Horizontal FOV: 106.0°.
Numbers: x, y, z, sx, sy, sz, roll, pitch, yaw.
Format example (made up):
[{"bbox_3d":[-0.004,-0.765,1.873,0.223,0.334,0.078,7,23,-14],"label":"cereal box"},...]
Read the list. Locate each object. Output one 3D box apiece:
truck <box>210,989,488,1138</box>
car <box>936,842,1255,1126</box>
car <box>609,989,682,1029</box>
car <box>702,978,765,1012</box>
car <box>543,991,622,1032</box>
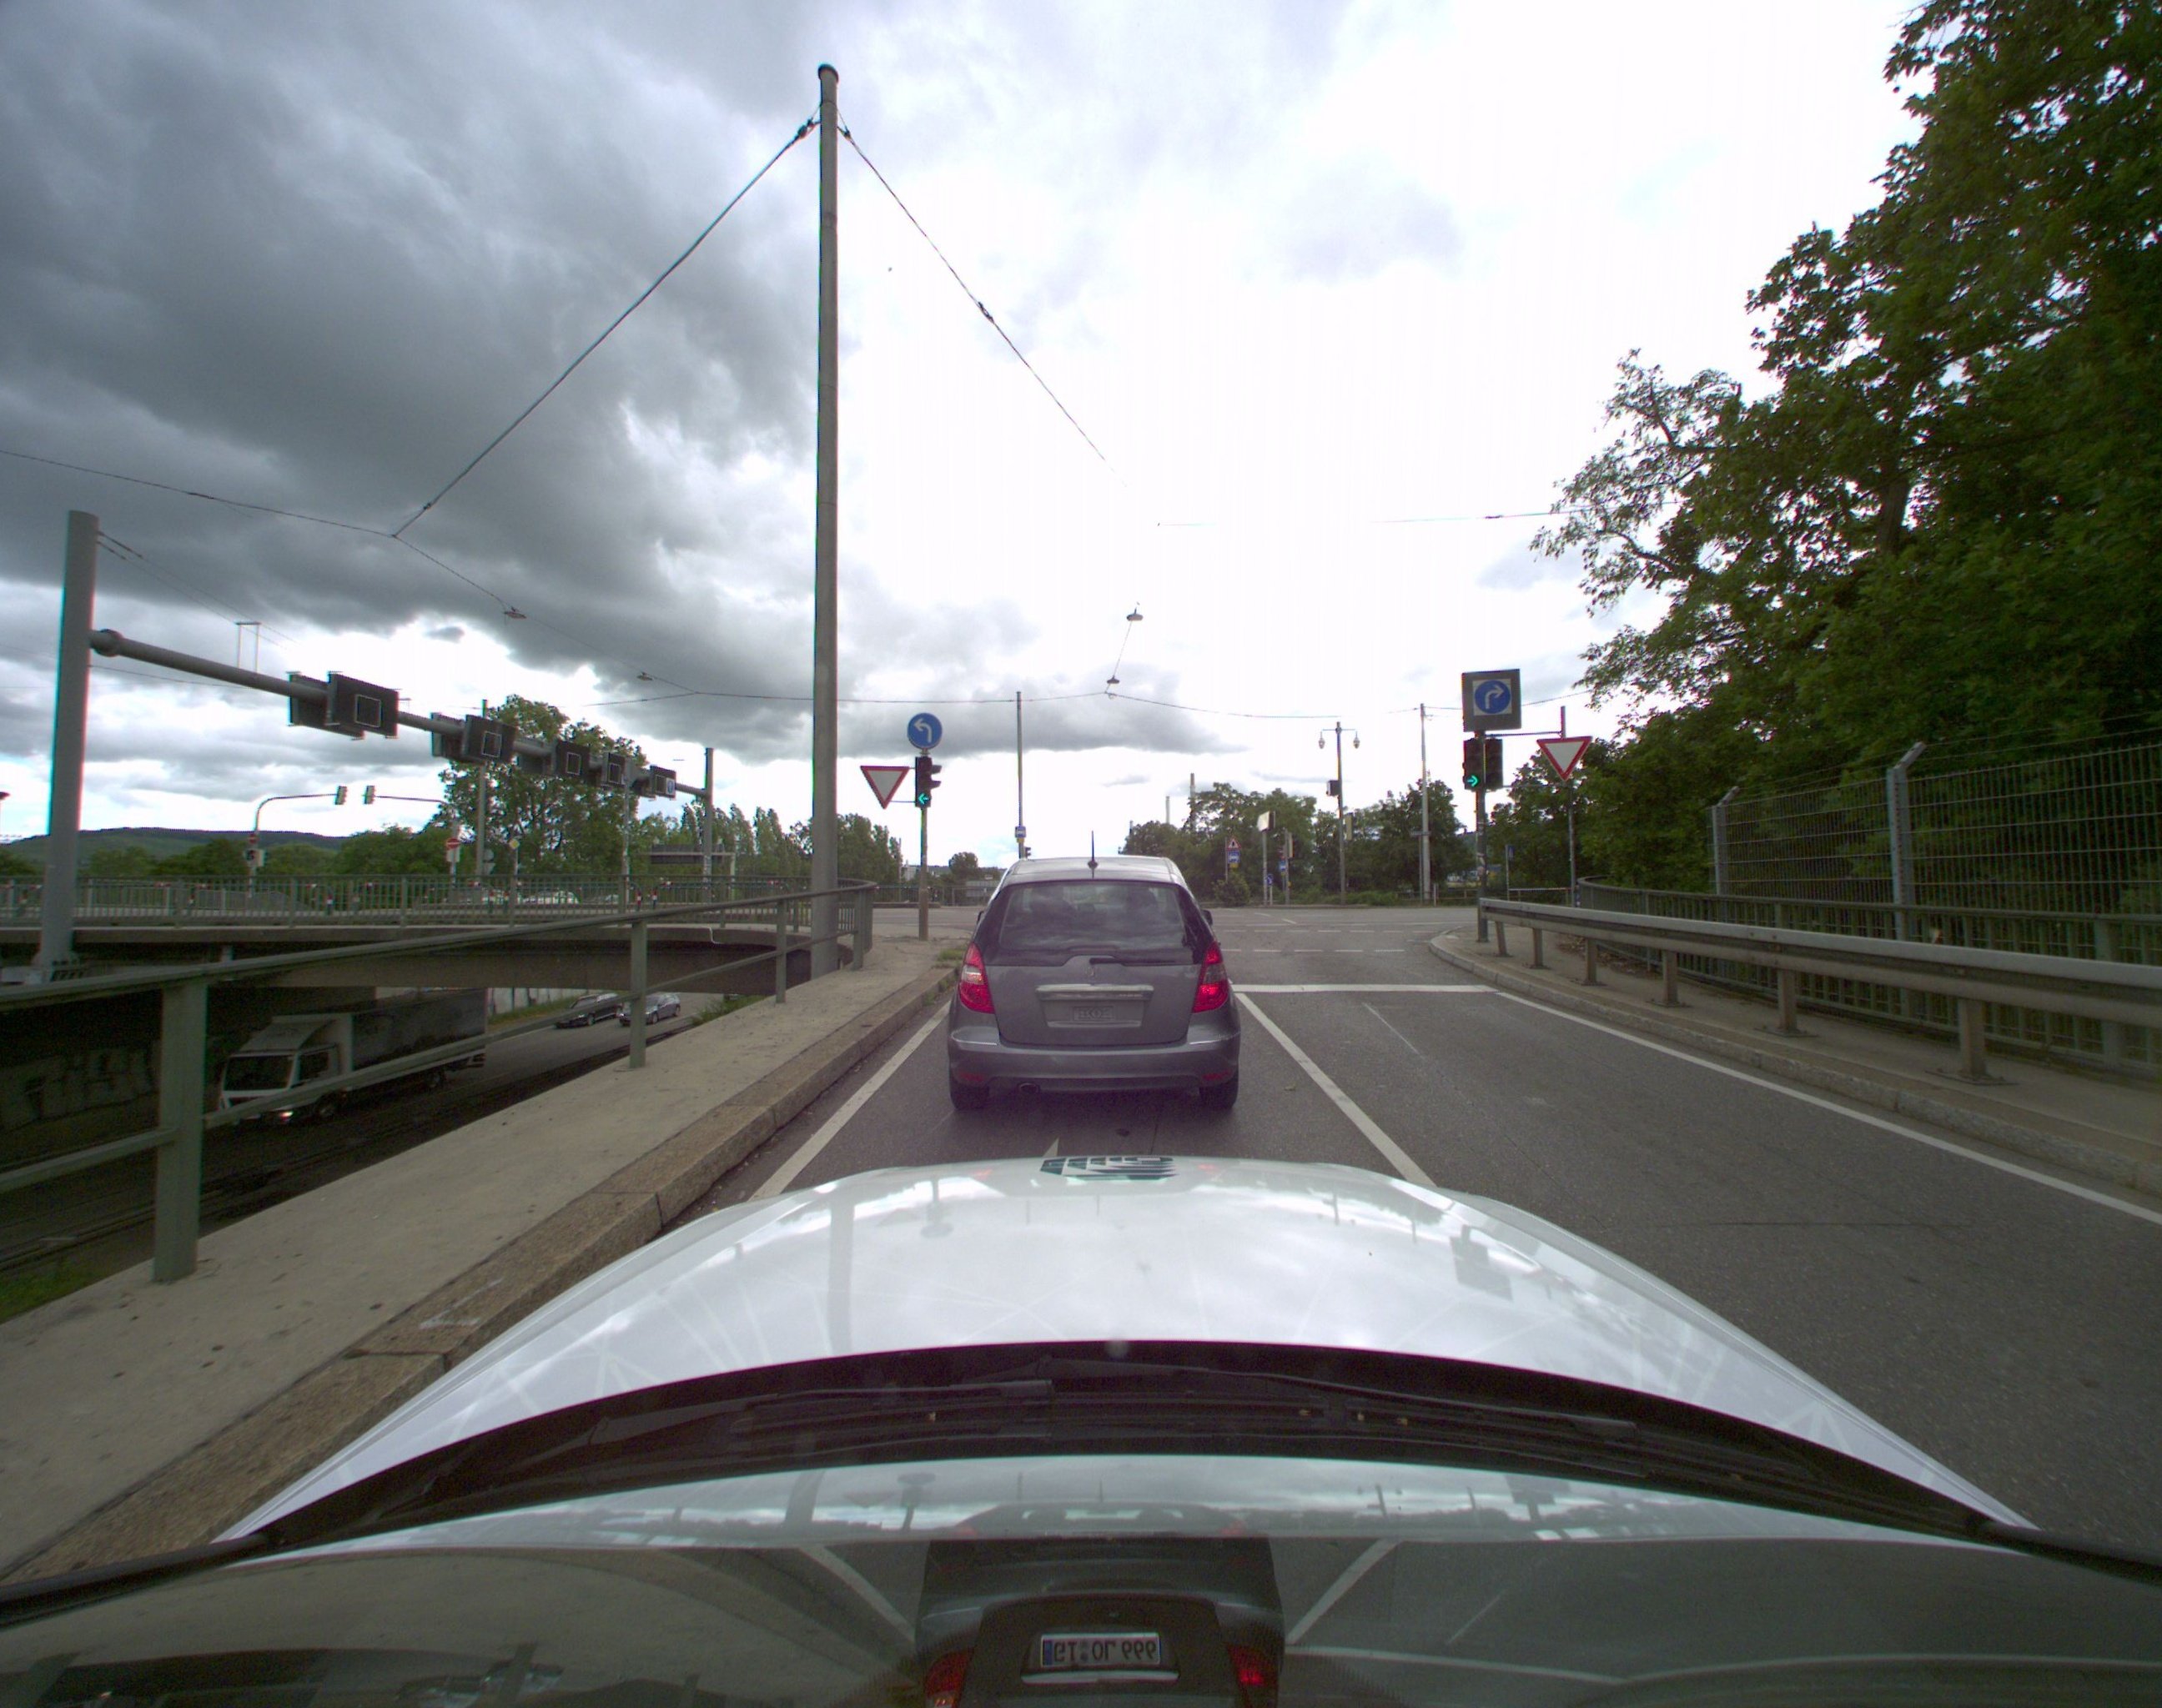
[{"bbox_3d":[-25.176,7.024,28.795,2.506,3.462,8.124,-2,-3,-1],"label":"truck"},{"bbox_3d":[0.137,0.728,6.229,1.733,1.543,3.542,0,-1,2],"label":"car"},{"bbox_3d":[-24.654,8.754,46.296,1.815,1.611,4.297,-2,-3,0],"label":"car"},{"bbox_3d":[-22.046,8.932,51.895,1.832,1.493,4.571,-4,-2,2],"label":"car"},{"bbox_3d":[-28.442,8.948,46.598,1.815,1.611,4.298,-2,-2,0],"label":"car"}]
